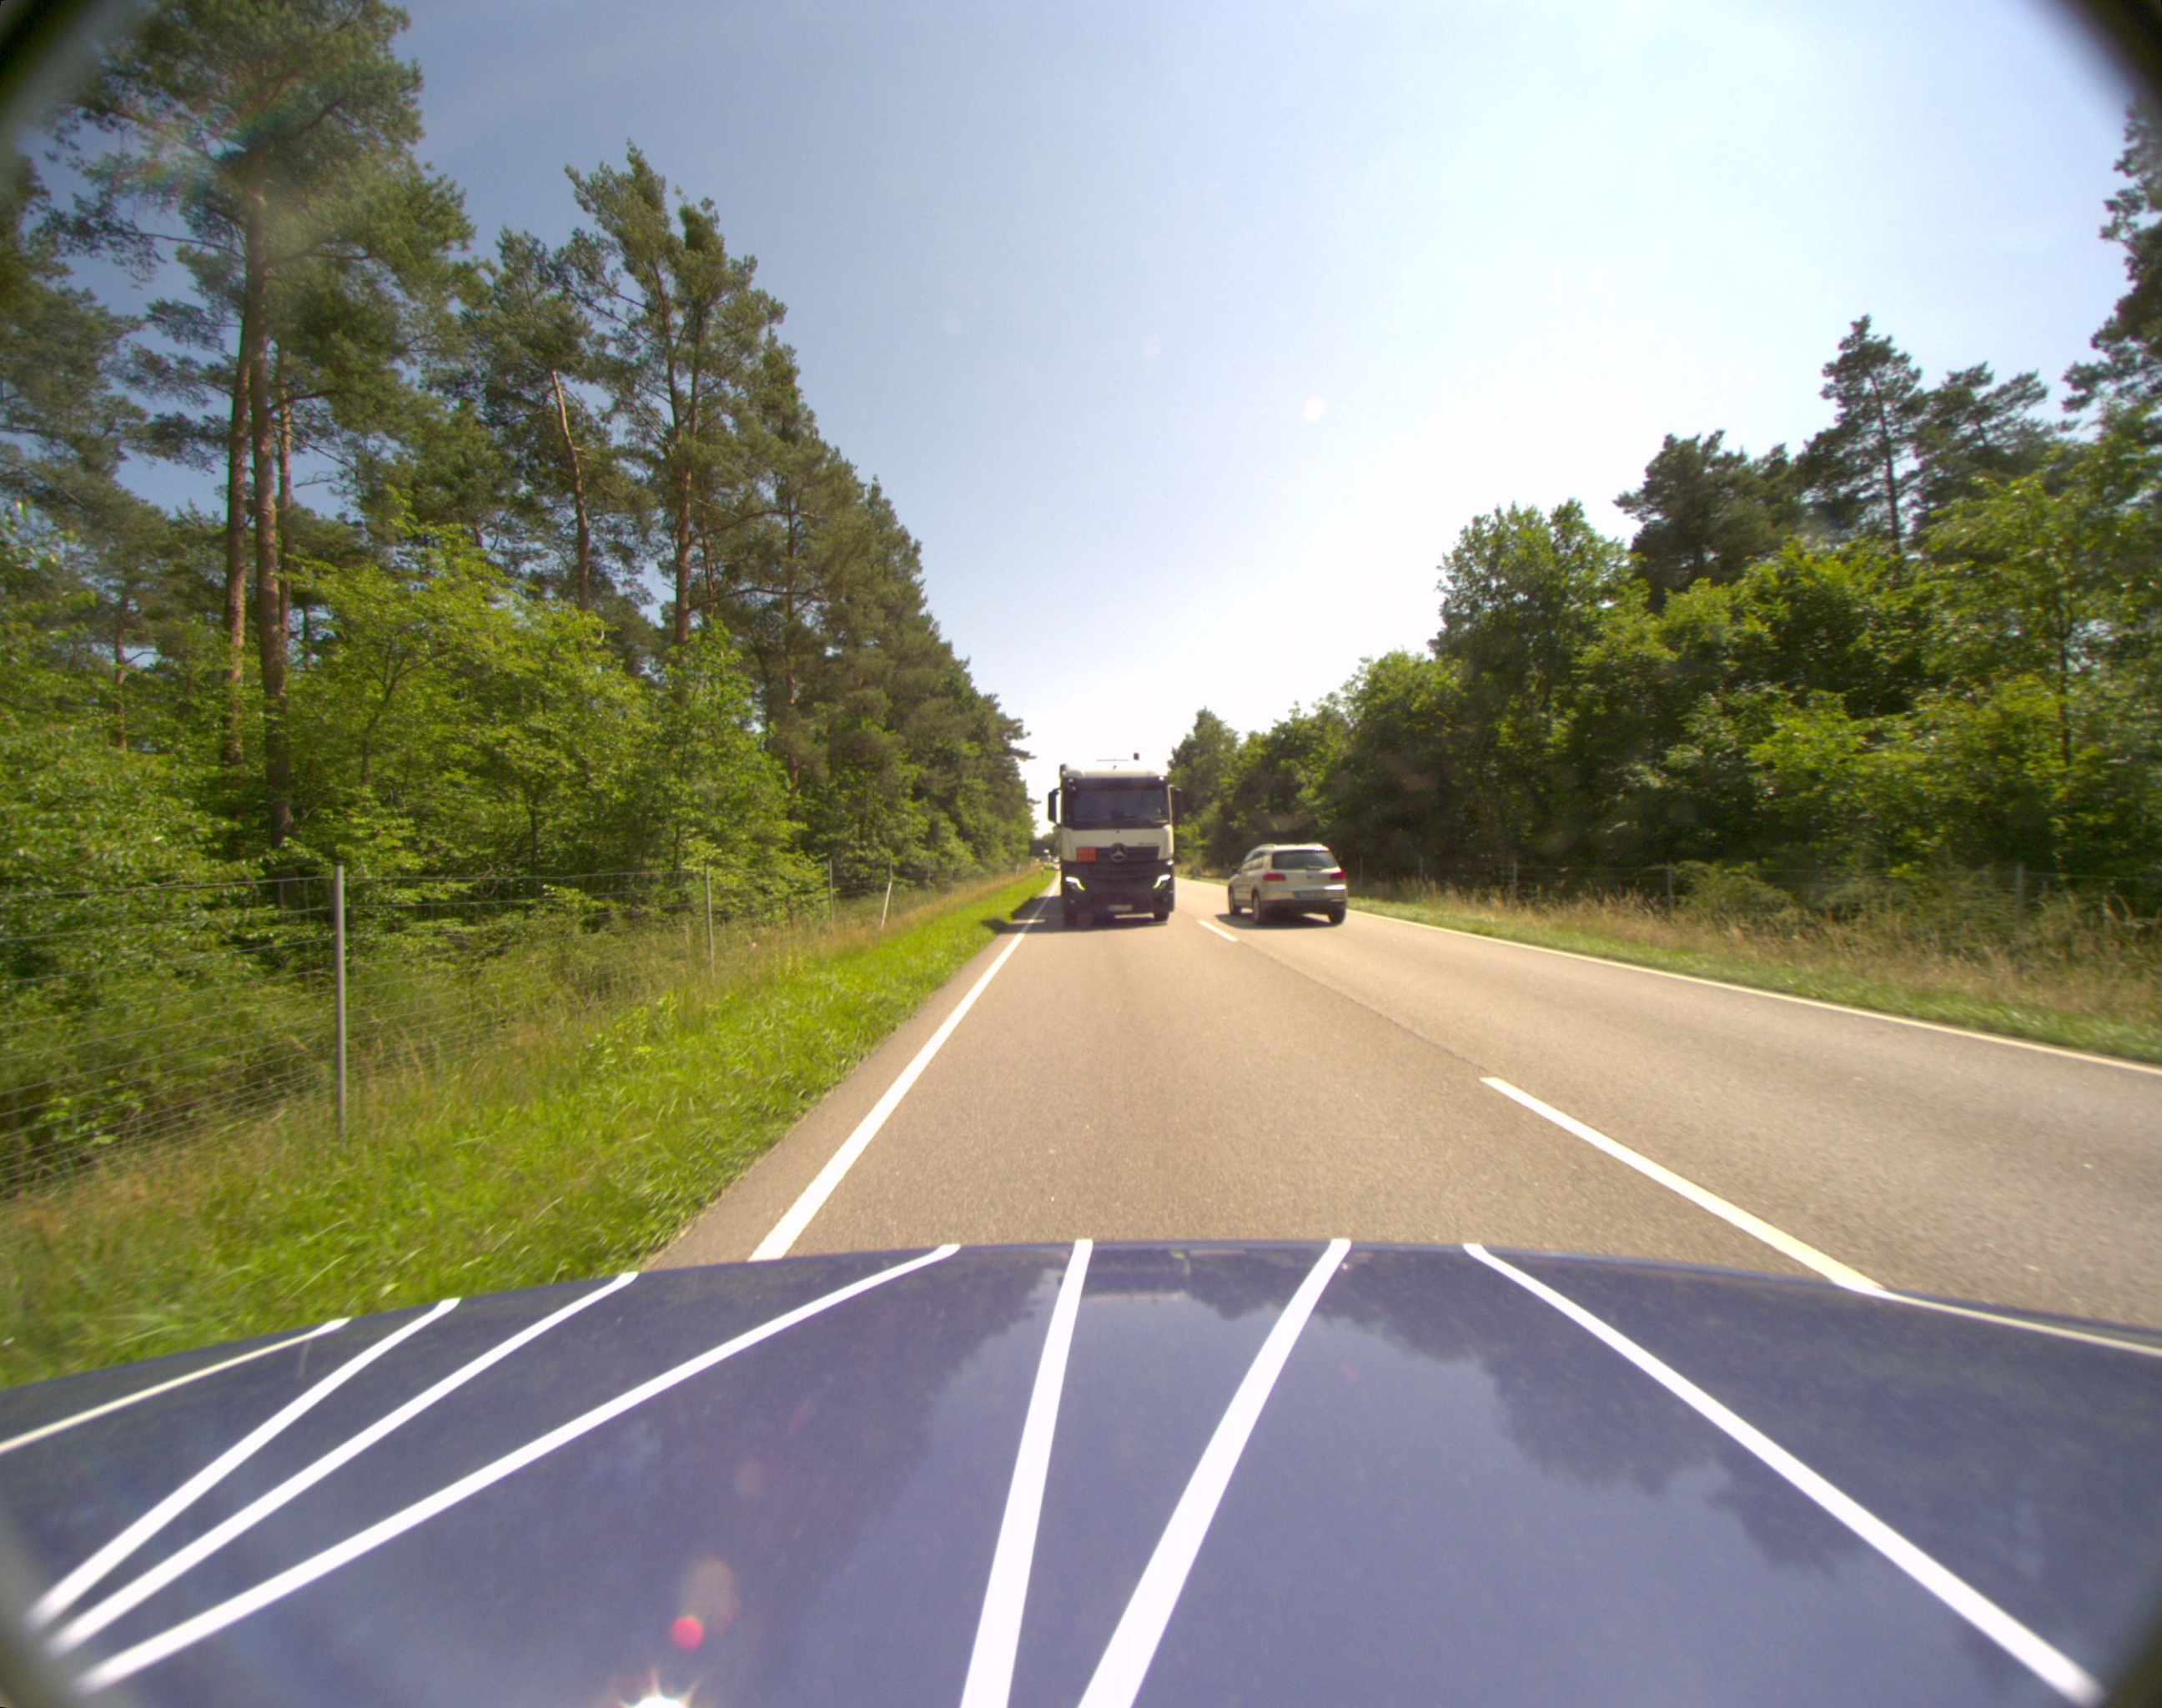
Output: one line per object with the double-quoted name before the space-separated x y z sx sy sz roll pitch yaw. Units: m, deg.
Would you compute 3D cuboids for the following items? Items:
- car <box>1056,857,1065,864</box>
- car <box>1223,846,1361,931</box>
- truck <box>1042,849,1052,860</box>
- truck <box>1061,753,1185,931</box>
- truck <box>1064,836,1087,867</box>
"car" -4.479 1.350 164.776 1.885 1.461 3.999 -1 0 -3
"car" 4.462 0.674 16.738 1.868 1.619 4.092 -1 0 0
"truck" -11.037 0.180 246.538 2.495 3.619 6.099 -1 0 -7
"truck" 0.807 -0.237 19.229 2.435 3.672 6.455 -2 0 -2
"truck" -0.622 -0.318 93.528 2.494 3.619 6.103 -2 0 1
